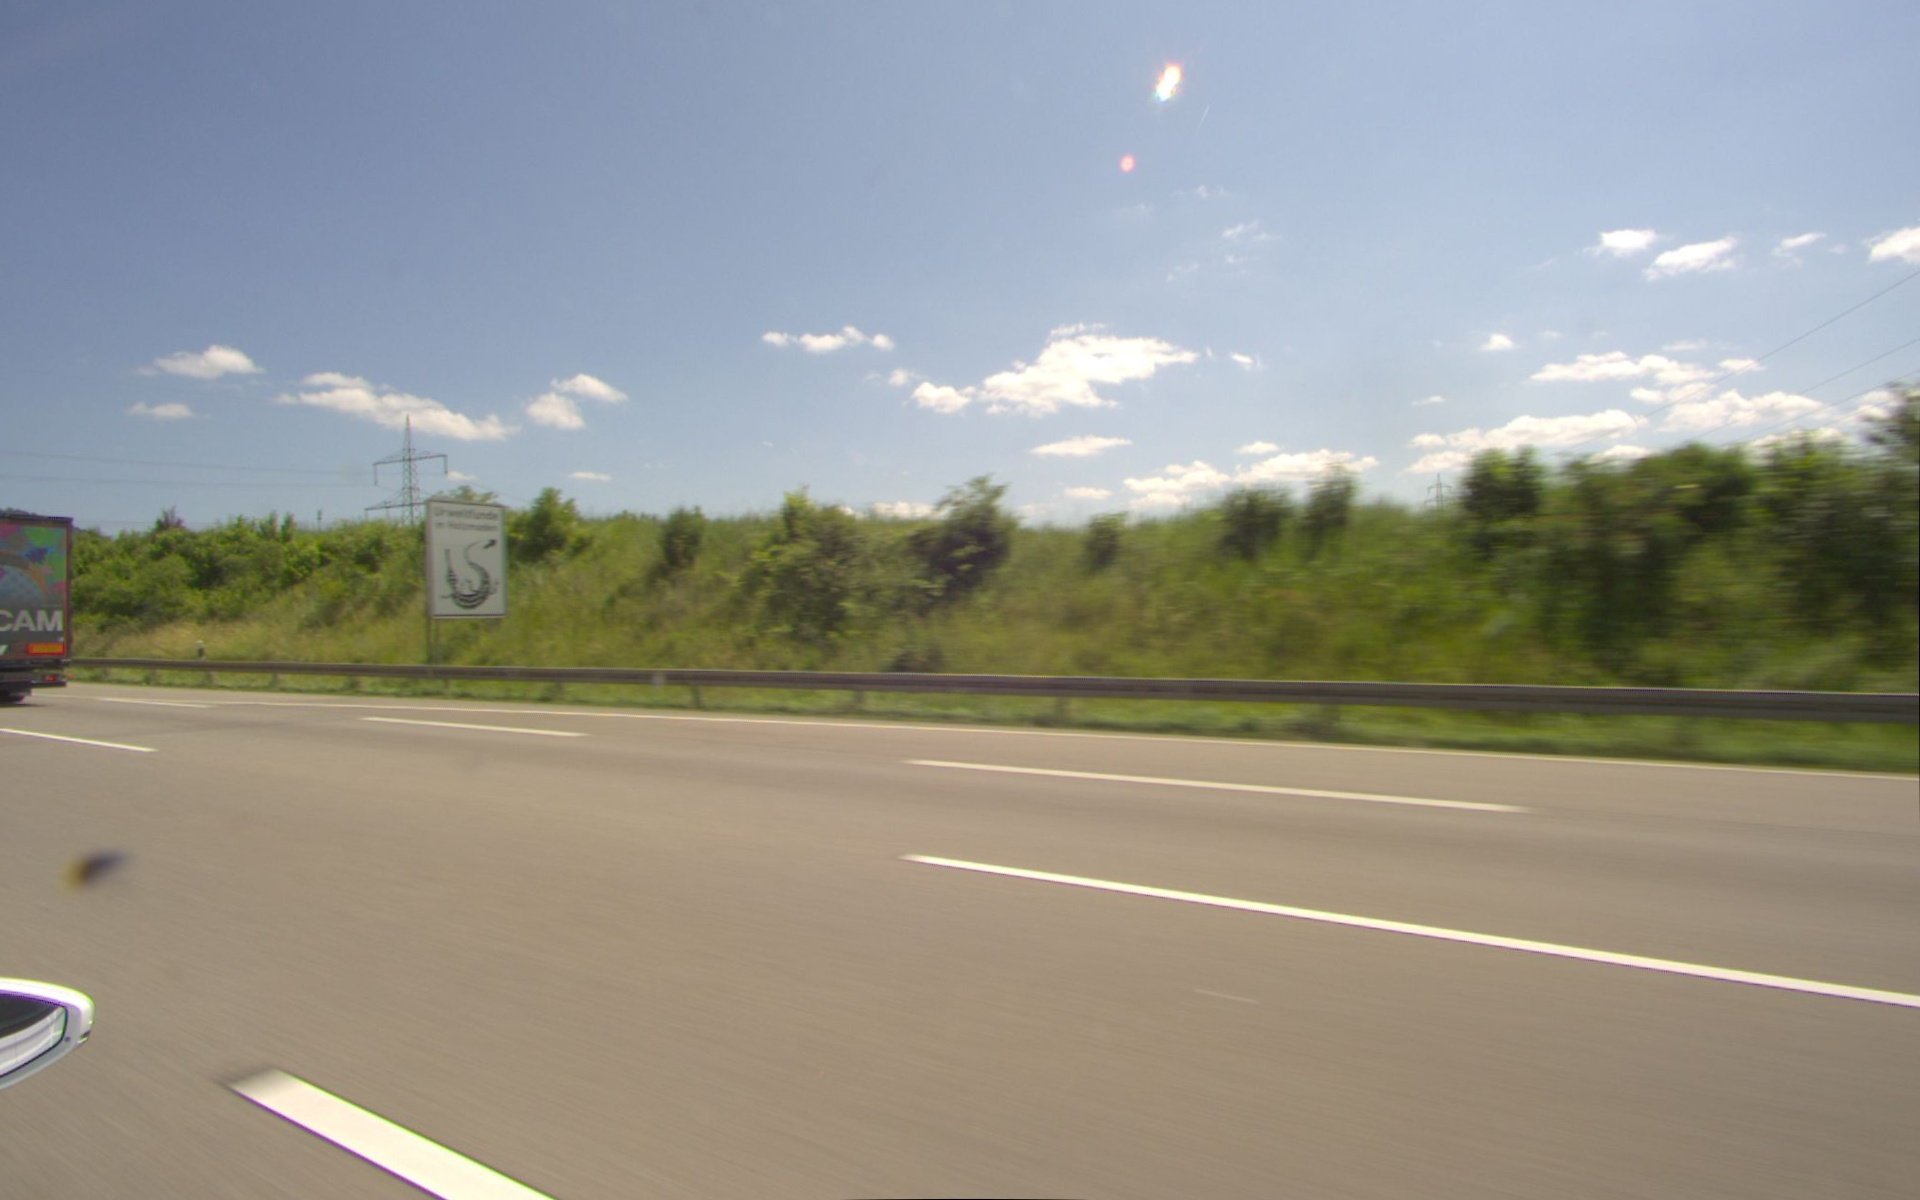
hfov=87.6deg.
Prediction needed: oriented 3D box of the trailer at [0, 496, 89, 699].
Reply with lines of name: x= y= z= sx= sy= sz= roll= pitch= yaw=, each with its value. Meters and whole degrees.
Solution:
trailer: x=-24.760 y=0.100 z=23.960 sx=11.641 sy=4.207 sz=2.721 roll=-2 pitch=-2 yaw=33
